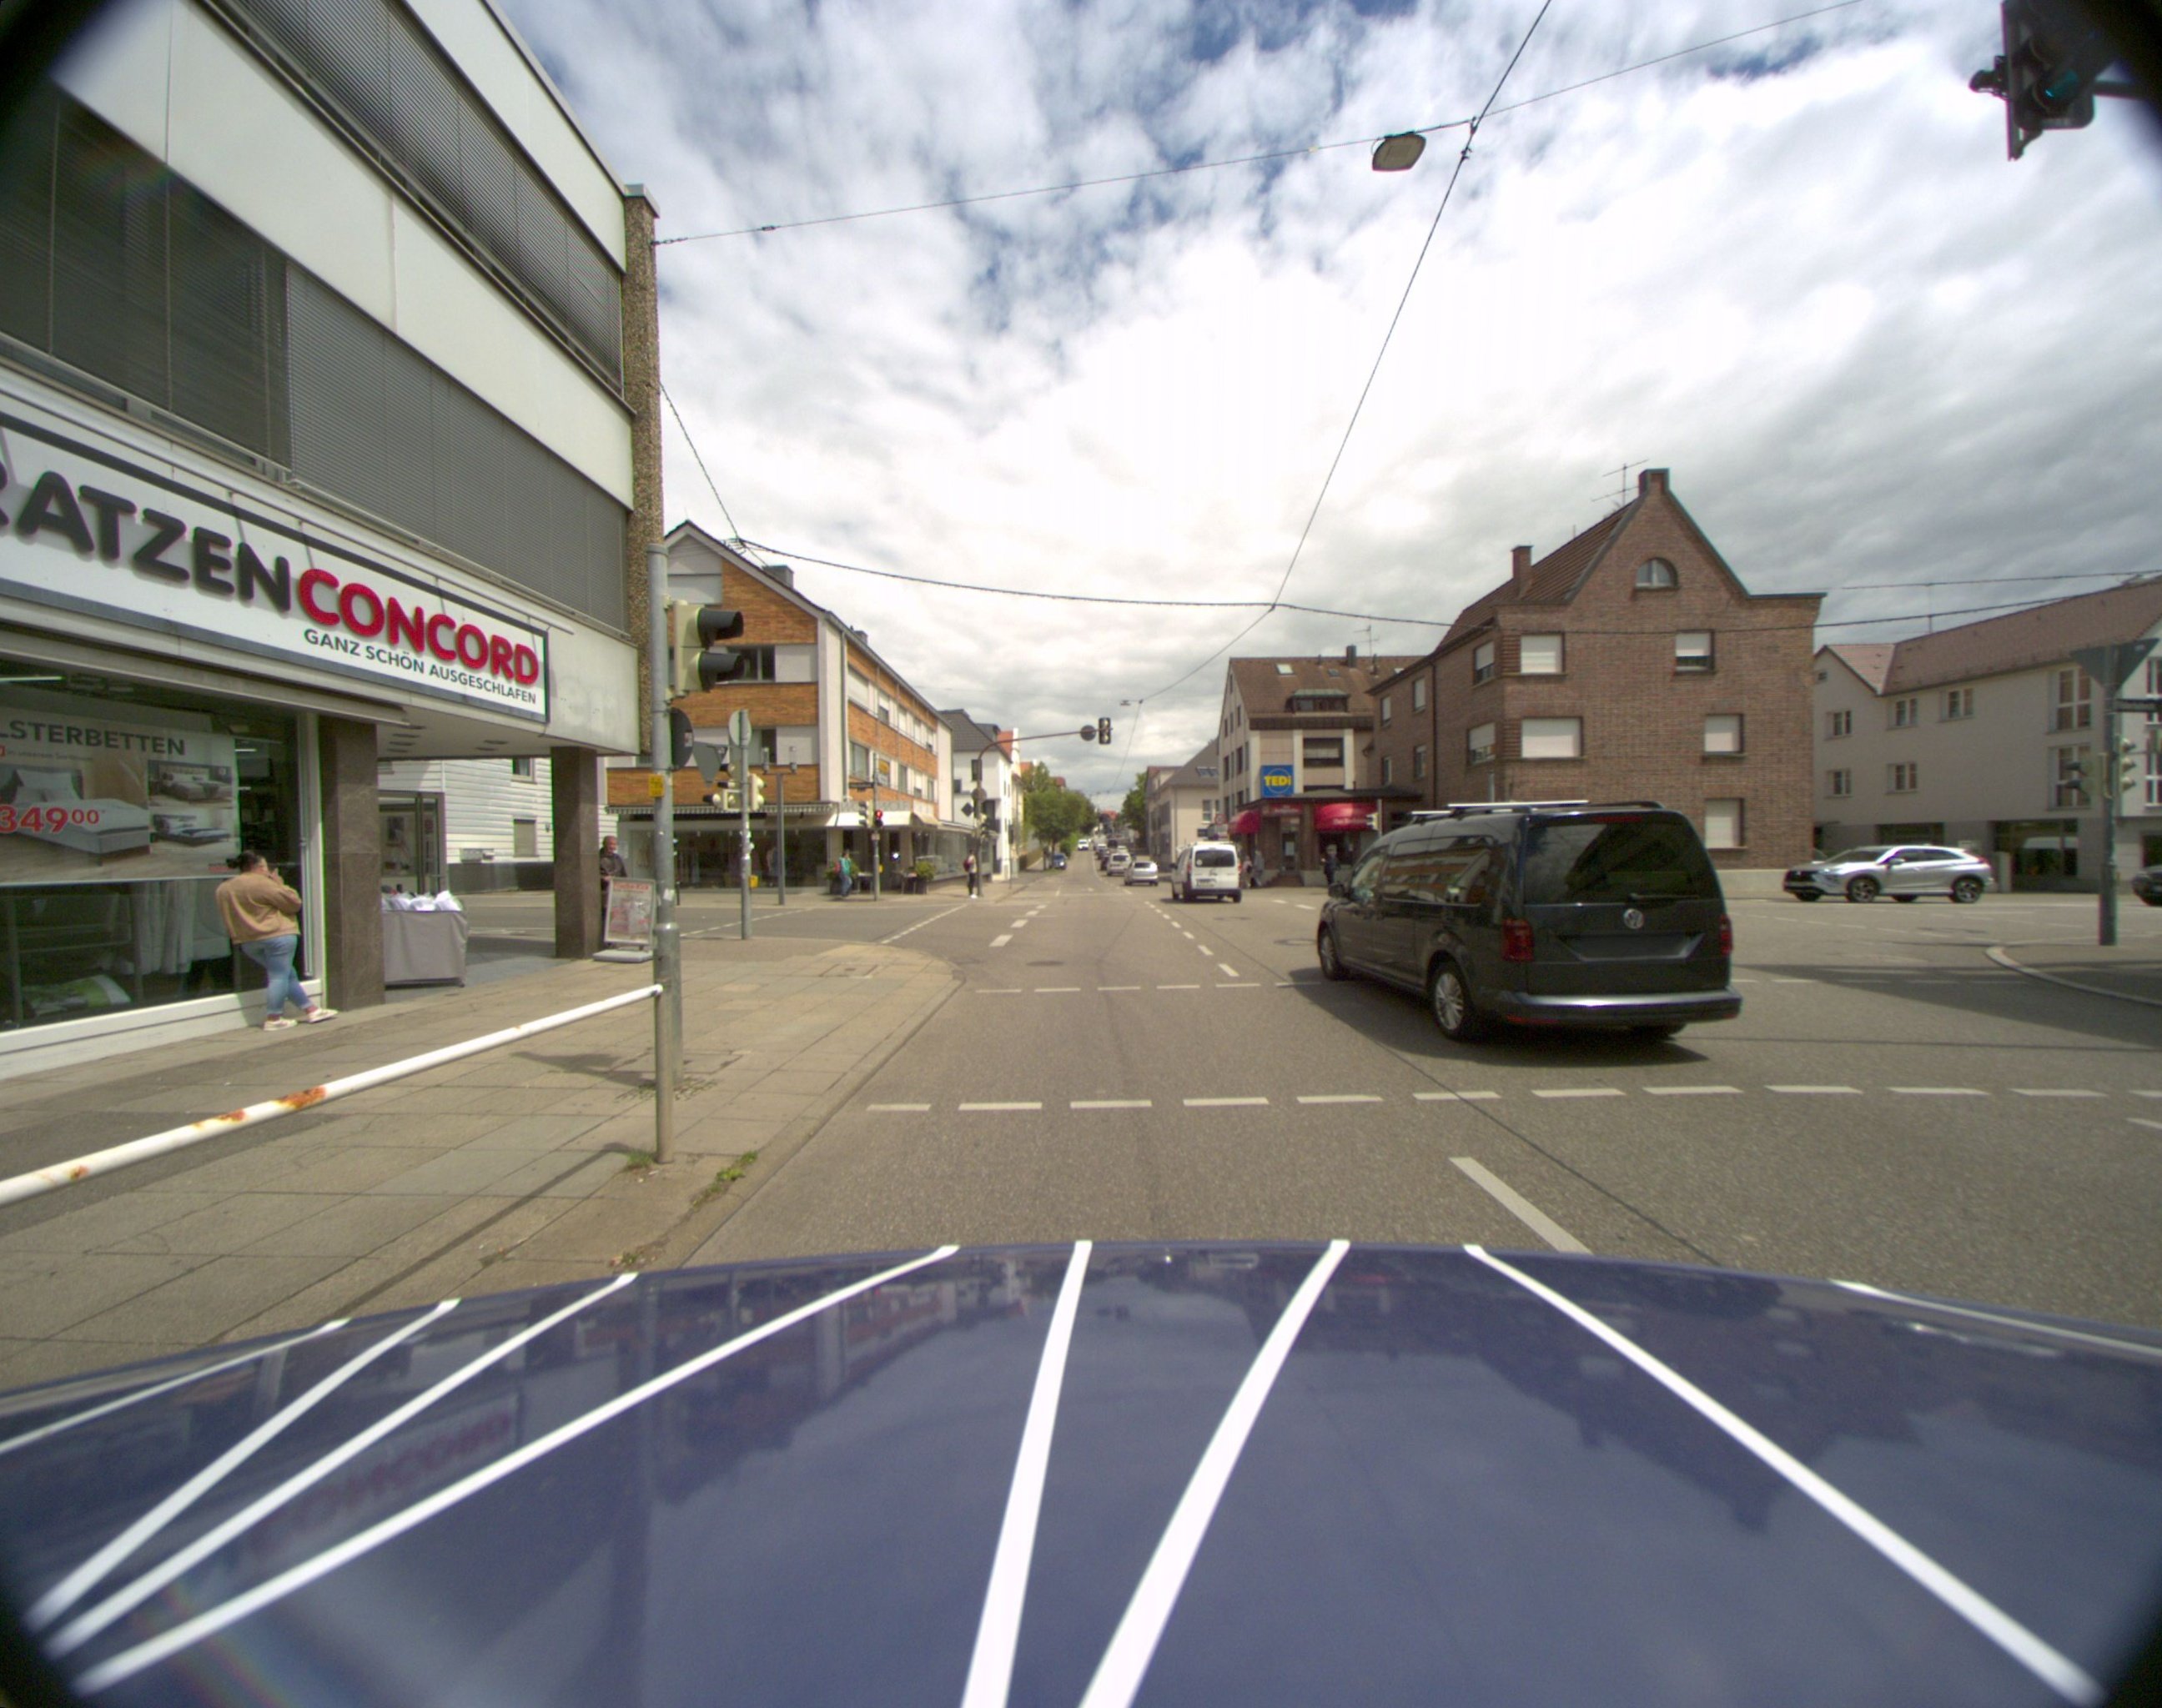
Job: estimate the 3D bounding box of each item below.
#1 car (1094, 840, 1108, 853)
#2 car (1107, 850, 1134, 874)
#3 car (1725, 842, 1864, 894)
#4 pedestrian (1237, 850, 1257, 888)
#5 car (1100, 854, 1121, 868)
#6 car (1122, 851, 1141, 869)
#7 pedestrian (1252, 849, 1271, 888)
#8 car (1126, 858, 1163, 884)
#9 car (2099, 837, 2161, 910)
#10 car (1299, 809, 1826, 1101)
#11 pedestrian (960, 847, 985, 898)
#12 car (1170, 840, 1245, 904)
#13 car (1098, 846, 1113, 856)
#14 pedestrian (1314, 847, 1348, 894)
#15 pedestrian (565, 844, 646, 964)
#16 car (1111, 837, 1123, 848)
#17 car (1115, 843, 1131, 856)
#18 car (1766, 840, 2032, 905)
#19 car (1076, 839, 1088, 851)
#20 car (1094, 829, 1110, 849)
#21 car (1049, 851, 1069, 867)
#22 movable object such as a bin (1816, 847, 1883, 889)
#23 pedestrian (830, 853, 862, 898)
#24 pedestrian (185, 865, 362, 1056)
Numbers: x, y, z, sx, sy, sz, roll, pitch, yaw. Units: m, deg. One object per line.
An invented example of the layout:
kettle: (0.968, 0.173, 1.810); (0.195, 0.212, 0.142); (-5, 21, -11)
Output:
car: (3.043, -1.085, 115.938); (1.858, 1.957, 4.192); (0, 0, -1)
car: (3.330, 0.682, 65.466); (1.982, 1.985, 5.027); (0, 0, -1)
car: (27.228, 0.491, 29.168); (1.869, 1.852, 3.702); (0, 0, 1)
pedestrian: (7.483, 0.660, 34.259); (0.779, 1.685, 0.796); (0, 1, 1)
car: (3.001, 0.684, 78.287); (1.858, 1.371, 4.271); (0, 0, -1)
car: (6.126, 0.659, 92.527); (2.111, 2.109, 4.765); (-1, 0, 0)
pedestrian: (8.115, 0.643, 34.206); (0.683, 1.706, 0.877); (0, 1, 1)
car: (3.745, 0.984, 45.250); (1.757, 1.478, 3.970); (0, 0, -1)
car: (28.109, 0.460, 18.324); (4.348, 1.744, 2.000); (0, 0, 1)
car: (3.780, 0.636, 7.304); (1.953, 1.866, 4.876); (0, 0, 0)
pedestrian: (-3.956, 0.669, 27.843); (0.581, 1.820, 0.882); (1, 1, 17)
car: (4.006, 0.539, 24.675); (1.819, 1.919, 4.112); (0, 0, 1)
car: (3.312, -0.414, 103.124); (1.858, 1.414, 4.192); (0, 0, -1)
pedestrian: (9.366, 0.604, 28.445); (0.908, 1.713, 0.849); (-1, 1, -41)
pedestrian: (-6.892, 0.687, 11.014); (0.805, 1.661, 0.799); (1, 1, 42)
car: (6.824, -2.186, 143.016); (2.111, 2.109, 4.765); (0, 1, 0)
car: (6.078, -0.661, 109.957); (2.111, 1.778, 4.529); (-1, 0, 0)
car: (23.178, 0.508, 21.721); (5.255, 1.758, 2.001); (0, 0, 4)
car: (0.140, -1.529, 131.809); (2.000, 1.797, 4.765); (3, 0, -1)
car: (3.589, -2.552, 132.205); (2.428, 3.409, 7.636); (0, 0, -1)
car: (-2.300, 0.498, 80.969); (1.998, 1.654, 4.000); (0, 0, 1)
movable object such as a bin: (31.205, 0.565, 30.885); (1.519, 1.615, 1.145); (-2, 1, 4)
pedestrian: (-7.875, 0.711, 25.523); (0.818, 1.517, 0.779); (0, 1, 0)
pedestrian: (-6.682, 0.846, 6.327); (0.681, 1.490, 0.720); (0, 1, 1)
